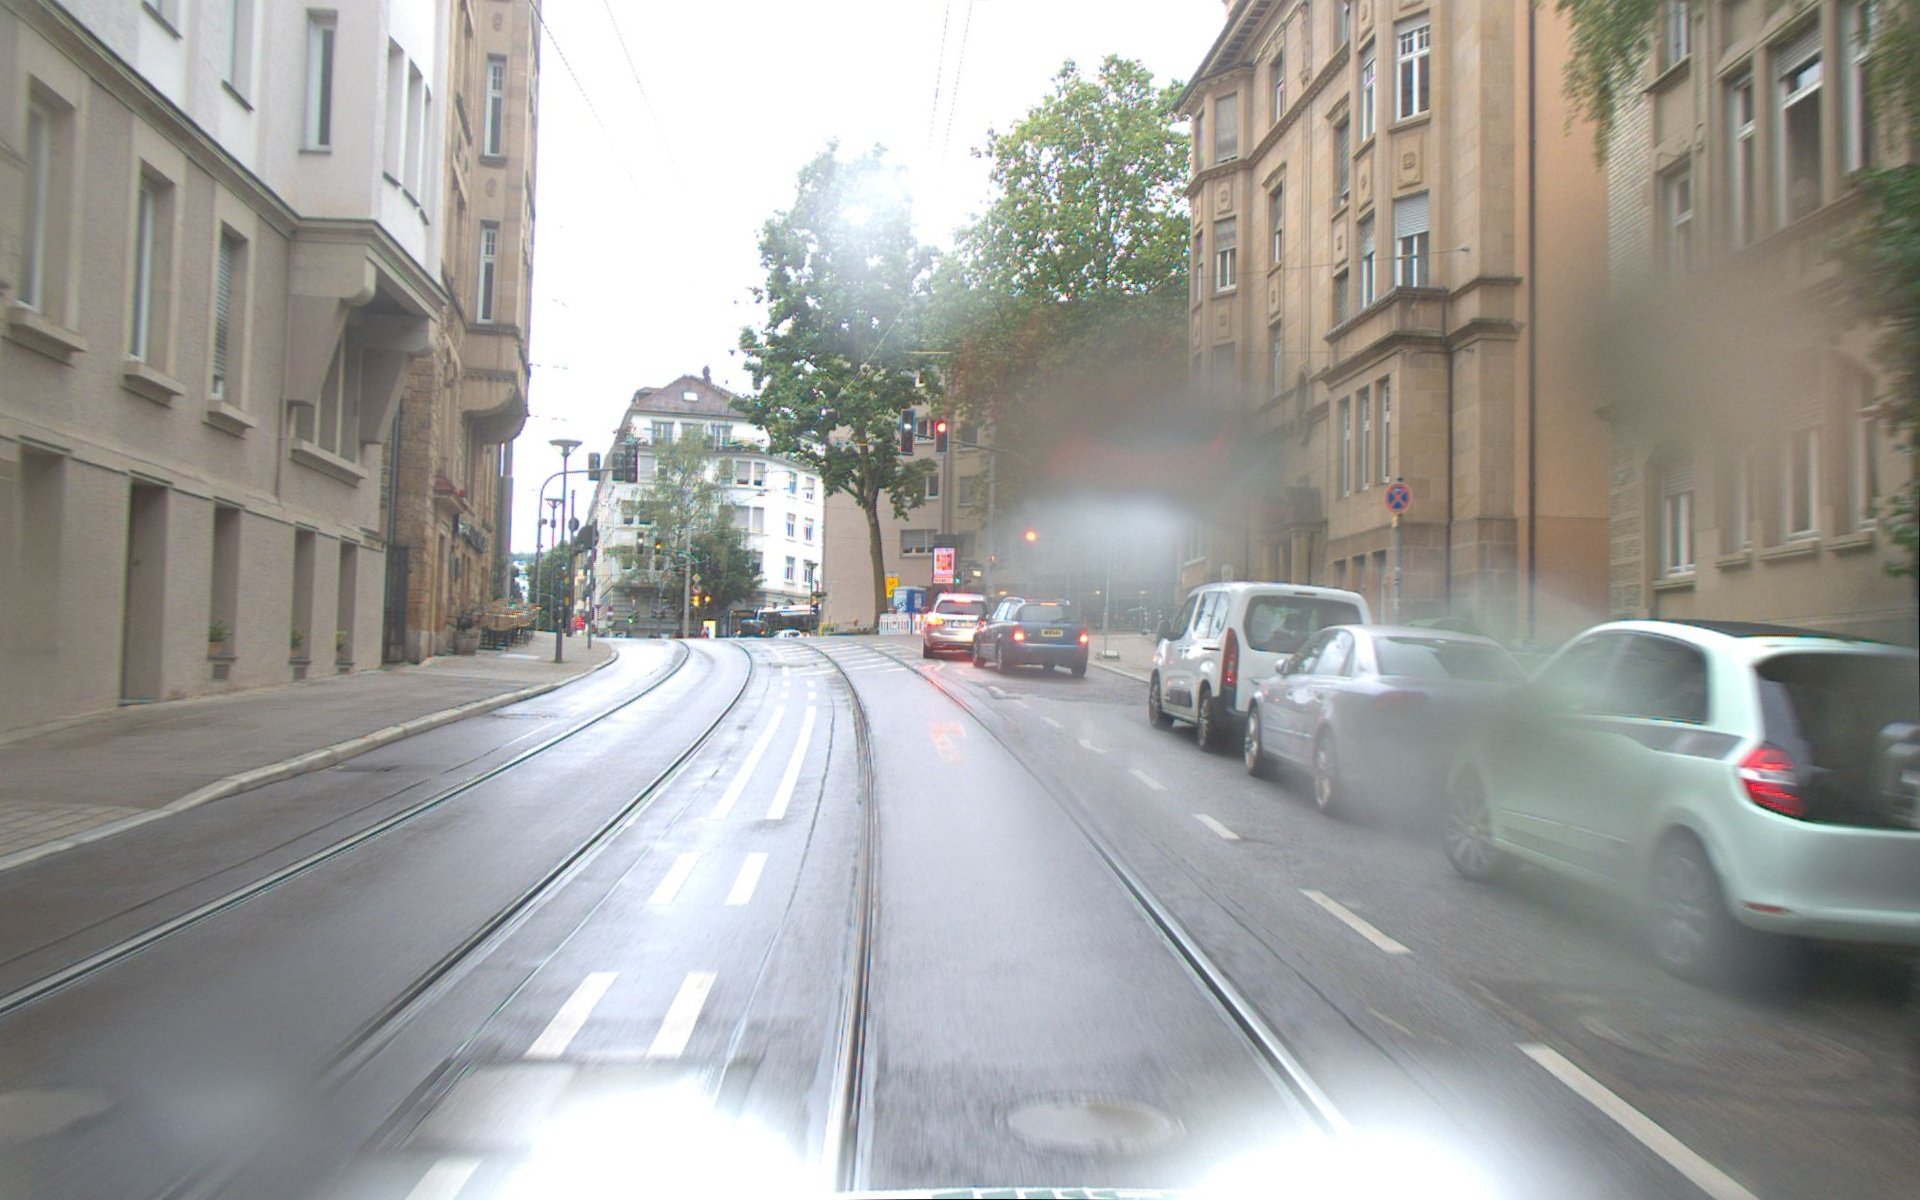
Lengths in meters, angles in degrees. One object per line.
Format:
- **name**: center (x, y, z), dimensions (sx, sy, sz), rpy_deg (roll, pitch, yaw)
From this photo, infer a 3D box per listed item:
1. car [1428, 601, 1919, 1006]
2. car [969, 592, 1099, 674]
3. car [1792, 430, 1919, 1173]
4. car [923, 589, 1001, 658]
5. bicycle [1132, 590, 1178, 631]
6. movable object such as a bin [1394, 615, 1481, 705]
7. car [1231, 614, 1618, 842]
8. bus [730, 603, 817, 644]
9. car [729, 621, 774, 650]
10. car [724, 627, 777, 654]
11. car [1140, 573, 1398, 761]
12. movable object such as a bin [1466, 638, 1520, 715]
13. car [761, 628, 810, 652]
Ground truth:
- **car**: center (3.812, 0.846, 8.470), dimensions (1.529, 1.573, 3.581), rpy_deg (3, 0, -4)
- **car**: center (1.408, 0.621, 32.992), dimensions (1.679, 1.440, 4.026), rpy_deg (2, 0, -11)
- **car**: center (3.826, 0.612, 2.542), dimensions (2.087, 2.048, 5.347), rpy_deg (3, 0, -3)
- **car**: center (0.005, 0.523, 38.848), dimensions (1.676, 1.481, 3.552), rpy_deg (2, 0, -2)
- **bicycle**: center (5.810, 0.306, 49.261), dimensions (1.275, 1.194, 0.525), rpy_deg (-1, 0, -7)
- **movable object such as a bin**: center (8.291, 1.026, 28.755), dimensions (0.953, 1.456, 1.278), rpy_deg (5, -1, -6)
- **car**: center (3.571, 0.901, 13.618), dimensions (1.714, 1.425, 4.476), rpy_deg (3, 0, -2)
- **bus**: center (-13.680, 1.688, 122.219), dimensions (2.795, 2.911, 8.735), rpy_deg (0, 0, 20)
- **car**: center (-11.987, 2.047, 95.220), dimensions (1.756, 1.536, 4.002), rpy_deg (-2, 0, 4)
- **car**: center (-14.079, 2.712, 111.331), dimensions (1.758, 1.642, 3.999), rpy_deg (0, 0, 23)
- **car**: center (3.367, 0.667, 18.916), dimensions (1.762, 1.796, 4.459), rpy_deg (3, 0, -4)
- **movable object such as a bin**: center (7.688, 1.096, 23.883), dimensions (0.517, 1.048, 0.664), rpy_deg (5, -1, 3)
- **car**: center (-12.243, 2.781, 116.234), dimensions (1.758, 1.537, 3.999), rpy_deg (0, 0, 23)
